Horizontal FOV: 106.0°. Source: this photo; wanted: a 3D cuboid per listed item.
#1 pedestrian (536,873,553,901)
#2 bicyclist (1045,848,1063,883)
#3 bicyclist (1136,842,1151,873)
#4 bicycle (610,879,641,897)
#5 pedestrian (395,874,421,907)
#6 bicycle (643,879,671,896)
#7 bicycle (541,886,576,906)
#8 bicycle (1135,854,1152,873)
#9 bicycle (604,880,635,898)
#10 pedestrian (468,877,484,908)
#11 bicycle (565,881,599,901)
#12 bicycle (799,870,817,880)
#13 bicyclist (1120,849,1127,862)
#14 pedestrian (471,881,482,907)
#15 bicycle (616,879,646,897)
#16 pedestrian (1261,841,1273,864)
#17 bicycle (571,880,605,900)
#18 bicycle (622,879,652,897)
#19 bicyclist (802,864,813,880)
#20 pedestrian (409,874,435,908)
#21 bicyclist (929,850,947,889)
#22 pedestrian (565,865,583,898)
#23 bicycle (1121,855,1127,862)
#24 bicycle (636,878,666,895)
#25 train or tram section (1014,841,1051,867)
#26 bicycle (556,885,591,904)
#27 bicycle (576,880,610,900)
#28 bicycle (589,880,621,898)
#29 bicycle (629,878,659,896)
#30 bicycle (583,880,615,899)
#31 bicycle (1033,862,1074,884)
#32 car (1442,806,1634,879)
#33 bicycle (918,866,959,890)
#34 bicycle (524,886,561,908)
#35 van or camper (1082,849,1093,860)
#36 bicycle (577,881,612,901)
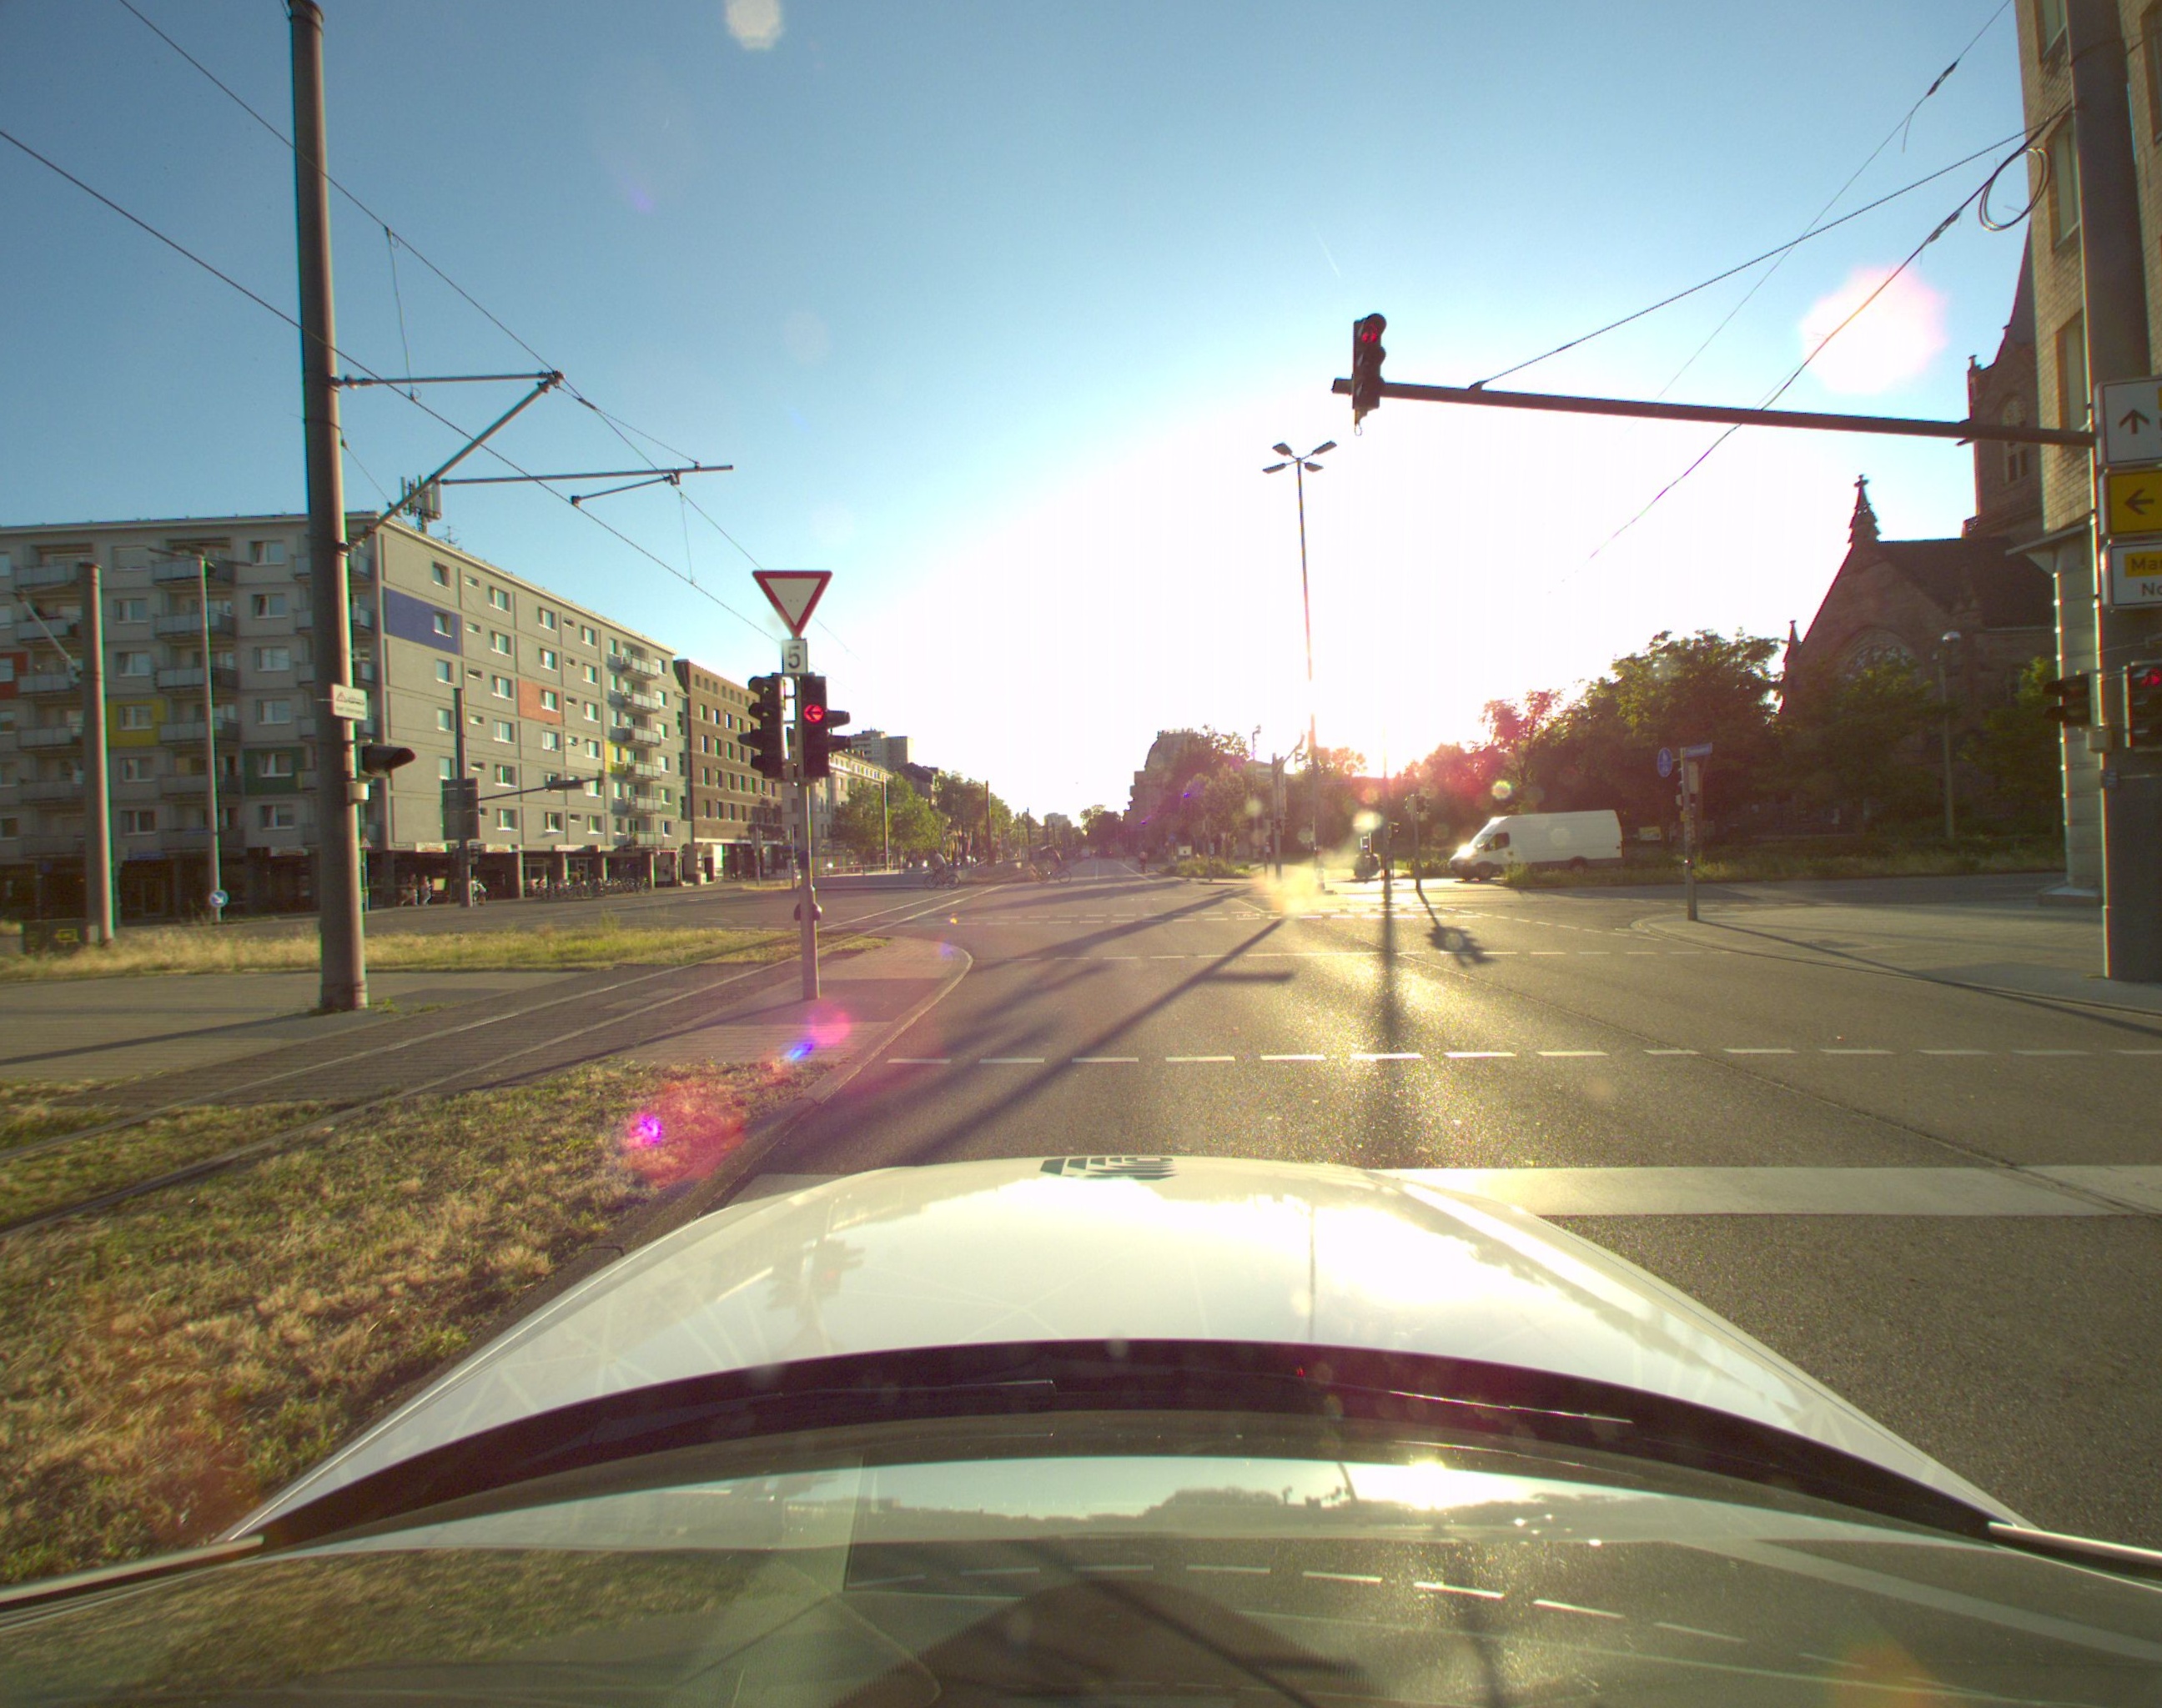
[{"bbox_3d":[-33.231,2.020,50.432,0.577,1.684,0.547,-2,0,2],"label":"pedestrian"},{"bbox_3d":[-1.433,0.604,42.946,0.873,1.818,0.538,-2,0,-1],"label":"bicyclist"},{"bbox_3d":[4.741,0.260,61.980,1.078,2.276,0.986,-2,0,1],"label":"bicyclist"},{"bbox_3d":[-31.100,2.337,55.565,1.754,1.119,0.568,-2,0,2],"label":"bicycle"},{"bbox_3d":[-37.264,2.023,45.084,0.826,1.813,0.718,-1,-1,-9],"label":"pedestrian"},{"bbox_3d":[-30.799,2.401,59.148,1.683,1.144,0.697,-2,0,3],"label":"bicycle"},{"bbox_3d":[-32.002,2.595,49.896,1.770,1.142,0.608,-2,0,1],"label":"bicycle"},{"bbox_3d":[4.756,0.703,62.024,1.094,1.399,2.833,-2,0,2],"label":"bicycle"},{"bbox_3d":[-31.136,2.339,54.979,1.748,1.117,0.552,-2,0,2],"label":"bicycle"},{"bbox_3d":[-32.502,2.036,43.725,0.575,1.620,0.598,-2,0,-29],"label":"pedestrian"},{"bbox_3d":[-31.291,2.306,51.059,1.759,1.167,0.540,-2,0,2],"label":"bicycle"},{"bbox_3d":[-26.126,1.995,77.936,0.503,0.944,1.678,-2,0,27],"label":"bicycle"},{"bbox_3d":[6.647,0.220,126.852,0.922,2.013,0.851,-2,0,1],"label":"bicyclist"},{"bbox_3d":[-32.834,2.192,44.241,0.383,1.383,0.392,-2,0,-26],"label":"pedestrian"},{"bbox_3d":[-31.045,2.346,56.198,1.719,1.124,0.634,-2,-1,3],"label":"bicycle"},{"bbox_3d":[15.130,-0.130,66.075,0.826,1.803,0.814,-2,0,17],"label":"pedestrian"},{"bbox_3d":[-31.243,2.273,51.657,1.762,1.182,0.568,-2,0,1],"label":"bicycle"},{"bbox_3d":[-30.980,2.388,56.890,1.683,1.153,0.706,-2,0,3],"label":"bicycle"},{"bbox_3d":[-26.170,1.735,77.849,0.494,1.426,0.862,-3,0,27],"label":"bicyclist"},{"bbox_3d":[-36.133,2.019,44.639,0.785,1.841,0.733,-2,0,-7],"label":"pedestrian"},{"bbox_3d":[-6.969,0.748,39.720,0.793,1.818,0.644,-2,0,-11],"label":"bicyclist"},{"bbox_3d":[-34.427,1.870,55.280,0.599,2.178,0.792,-2,0,1],"label":"pedestrian"},{"bbox_3d":[6.667,0.683,126.866,0.921,1.111,2.334,-2,0,2],"label":"bicycle"},{"bbox_3d":[-30.852,2.317,58.417,1.683,1.170,0.749,-2,0,3],"label":"bicycle"},{"bbox_3d":[-8.234,-0.112,141.533,4.363,3.849,11.433,-2,2,7],"label":"train or tram section"},{"bbox_3d":[-31.454,2.506,50.486,1.750,1.139,0.600,-2,0,2],"label":"bicycle"},{"bbox_3d":[-31.800,2.349,53.106,1.824,1.160,0.640,-2,0,1],"label":"bicycle"},{"bbox_3d":[-31.825,2.352,54.436,1.764,1.136,0.606,-2,0,2],"label":"bicycle"},{"bbox_3d":[-30.930,2.361,57.643,1.683,1.179,0.749,-2,0,3],"label":"bicycle"},{"bbox_3d":[-31.829,2.351,53.776,1.769,1.159,0.606,-2,0,1],"label":"bicycle"},{"bbox_3d":[-1.445,0.989,42.946,2.157,1.083,0.538,-1,-1,-1],"label":"bicycle"},{"bbox_3d":[19.606,-0.489,35.200,6.981,2.827,2.095,-2,0,3],"label":"car"},{"bbox_3d":[-6.948,1.143,39.734,1.902,1.075,0.630,-2,0,-11],"label":"bicycle"},{"bbox_3d":[-32.279,2.565,48.805,1.788,1.208,0.638,-2,0,0],"label":"bicycle"},{"bbox_3d":[1.570,0.115,198.531,2.441,2.770,5.600,-2,0,0],"label":"van or camper"},{"bbox_3d":[-31.230,2.365,52.306,1.782,1.191,0.652,-2,0,1],"label":"bicycle"}]
